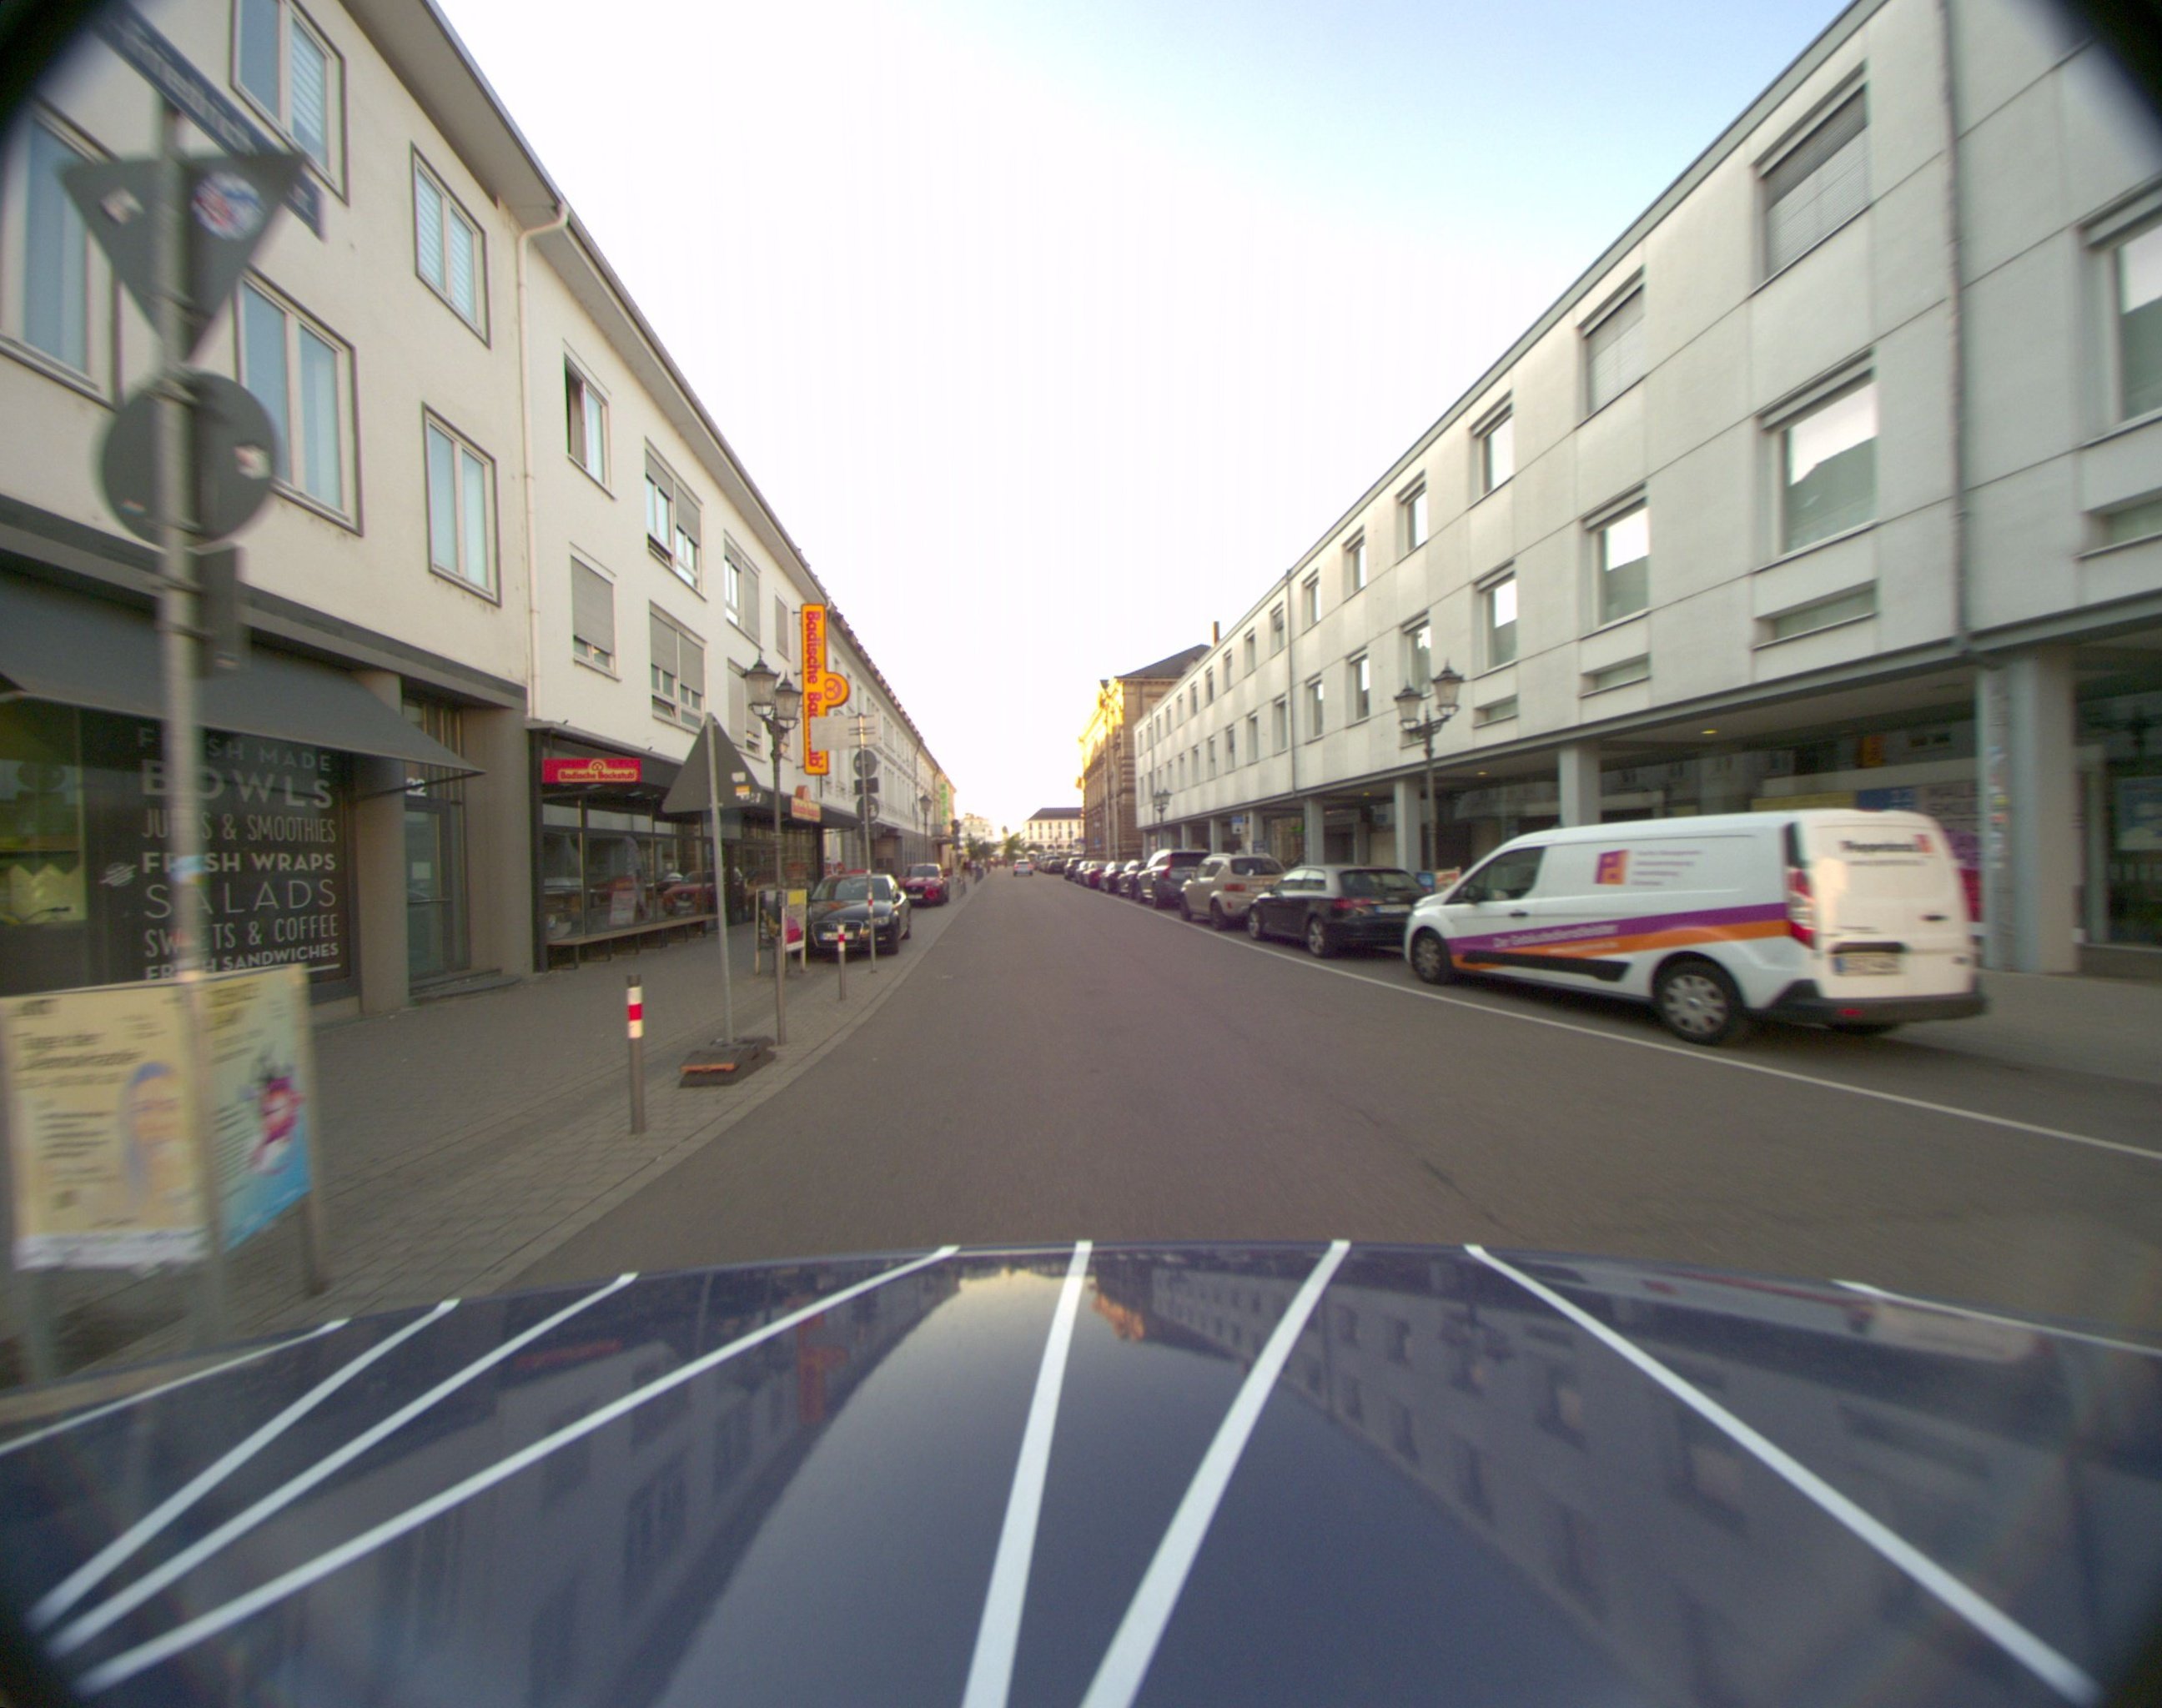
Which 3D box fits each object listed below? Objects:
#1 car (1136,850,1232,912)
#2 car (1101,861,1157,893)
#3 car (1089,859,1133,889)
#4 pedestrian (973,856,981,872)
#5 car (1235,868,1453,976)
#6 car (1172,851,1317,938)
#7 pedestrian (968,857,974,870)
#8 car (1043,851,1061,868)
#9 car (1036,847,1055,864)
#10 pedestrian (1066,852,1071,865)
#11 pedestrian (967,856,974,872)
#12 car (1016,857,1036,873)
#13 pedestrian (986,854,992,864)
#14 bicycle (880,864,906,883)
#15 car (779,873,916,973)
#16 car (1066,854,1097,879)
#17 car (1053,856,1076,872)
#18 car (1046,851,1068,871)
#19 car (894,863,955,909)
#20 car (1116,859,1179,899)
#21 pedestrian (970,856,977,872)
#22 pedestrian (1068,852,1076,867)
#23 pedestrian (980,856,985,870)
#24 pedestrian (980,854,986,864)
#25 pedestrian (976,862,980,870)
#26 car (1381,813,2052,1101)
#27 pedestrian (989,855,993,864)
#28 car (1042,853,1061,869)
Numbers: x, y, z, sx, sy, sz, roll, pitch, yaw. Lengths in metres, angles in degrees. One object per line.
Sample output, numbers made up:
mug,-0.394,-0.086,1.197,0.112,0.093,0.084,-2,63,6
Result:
car,3.059,0.758,23.565,1.999,1.718,4.513,0,0,-5
car,2.119,1.019,34.913,1.999,1.346,3.998,0,0,-5
car,1.531,1.002,40.014,1.790,1.400,4.086,-1,0,-4
pedestrian,-11.890,1.141,87.165,0.750,1.720,0.881,-2,1,1
car,4.059,0.966,12.509,1.683,1.345,4.102,-2,0,-8
car,3.540,0.814,17.250,2.000,1.652,3.998,-2,0,-6
pedestrian,-13.432,1.175,93.137,0.631,1.591,0.614,-2,1,-4
car,-3.662,0.660,95.823,1.999,2.075,5.204,-1,0,-5
car,-4.867,0.190,102.762,2.000,2.158,5.203,-2,0,-8
pedestrian,-1.661,0.564,101.740,0.609,1.720,0.702,-2,1,-4
pedestrian,-12.645,1.134,86.805,0.715,1.720,0.873,-2,1,-3
car,-5.183,0.991,71.569,1.769,1.414,3.997,0,0,-6
pedestrian,-16.464,0.825,135.369,0.667,1.720,0.767,-1,1,38
bicycle,-12.672,1.316,51.214,1.662,1.245,0.439,-2,1,-8
car,-4.193,1.154,14.285,1.807,1.455,4.114,-1,0,-8
car,0.005,0.836,52.562,1.790,1.605,4.164,-1,0,-4
car,-1.704,0.994,77.722,1.999,1.486,4.162,-1,0,-5
car,-2.669,0.714,84.239,1.999,2.065,4.986,-1,1,-6
car,-5.747,1.134,28.335,1.764,1.514,3.675,-2,0,-5
car,2.465,0.911,29.152,1.678,1.392,3.998,-1,0,-6
pedestrian,-12.160,1.119,85.685,0.622,1.779,0.913,-2,1,-2
pedestrian,-1.033,0.660,89.061,0.715,1.720,0.896,-4,1,-4
pedestrian,-12.128,1.149,93.672,0.609,1.720,0.558,-2,1,-4
pedestrian,-17.488,0.886,135.196,0.607,1.720,0.719,-1,1,38
pedestrian,-12.690,1.479,93.384,0.461,0.974,0.558,-2,1,-4
car,5.266,0.661,7.412,2.000,1.805,4.779,-2,0,-12
pedestrian,-15.911,0.899,134.658,0.684,1.557,0.652,-2,1,-7
car,-3.550,0.821,90.340,1.999,1.742,4.987,-1,0,-6
